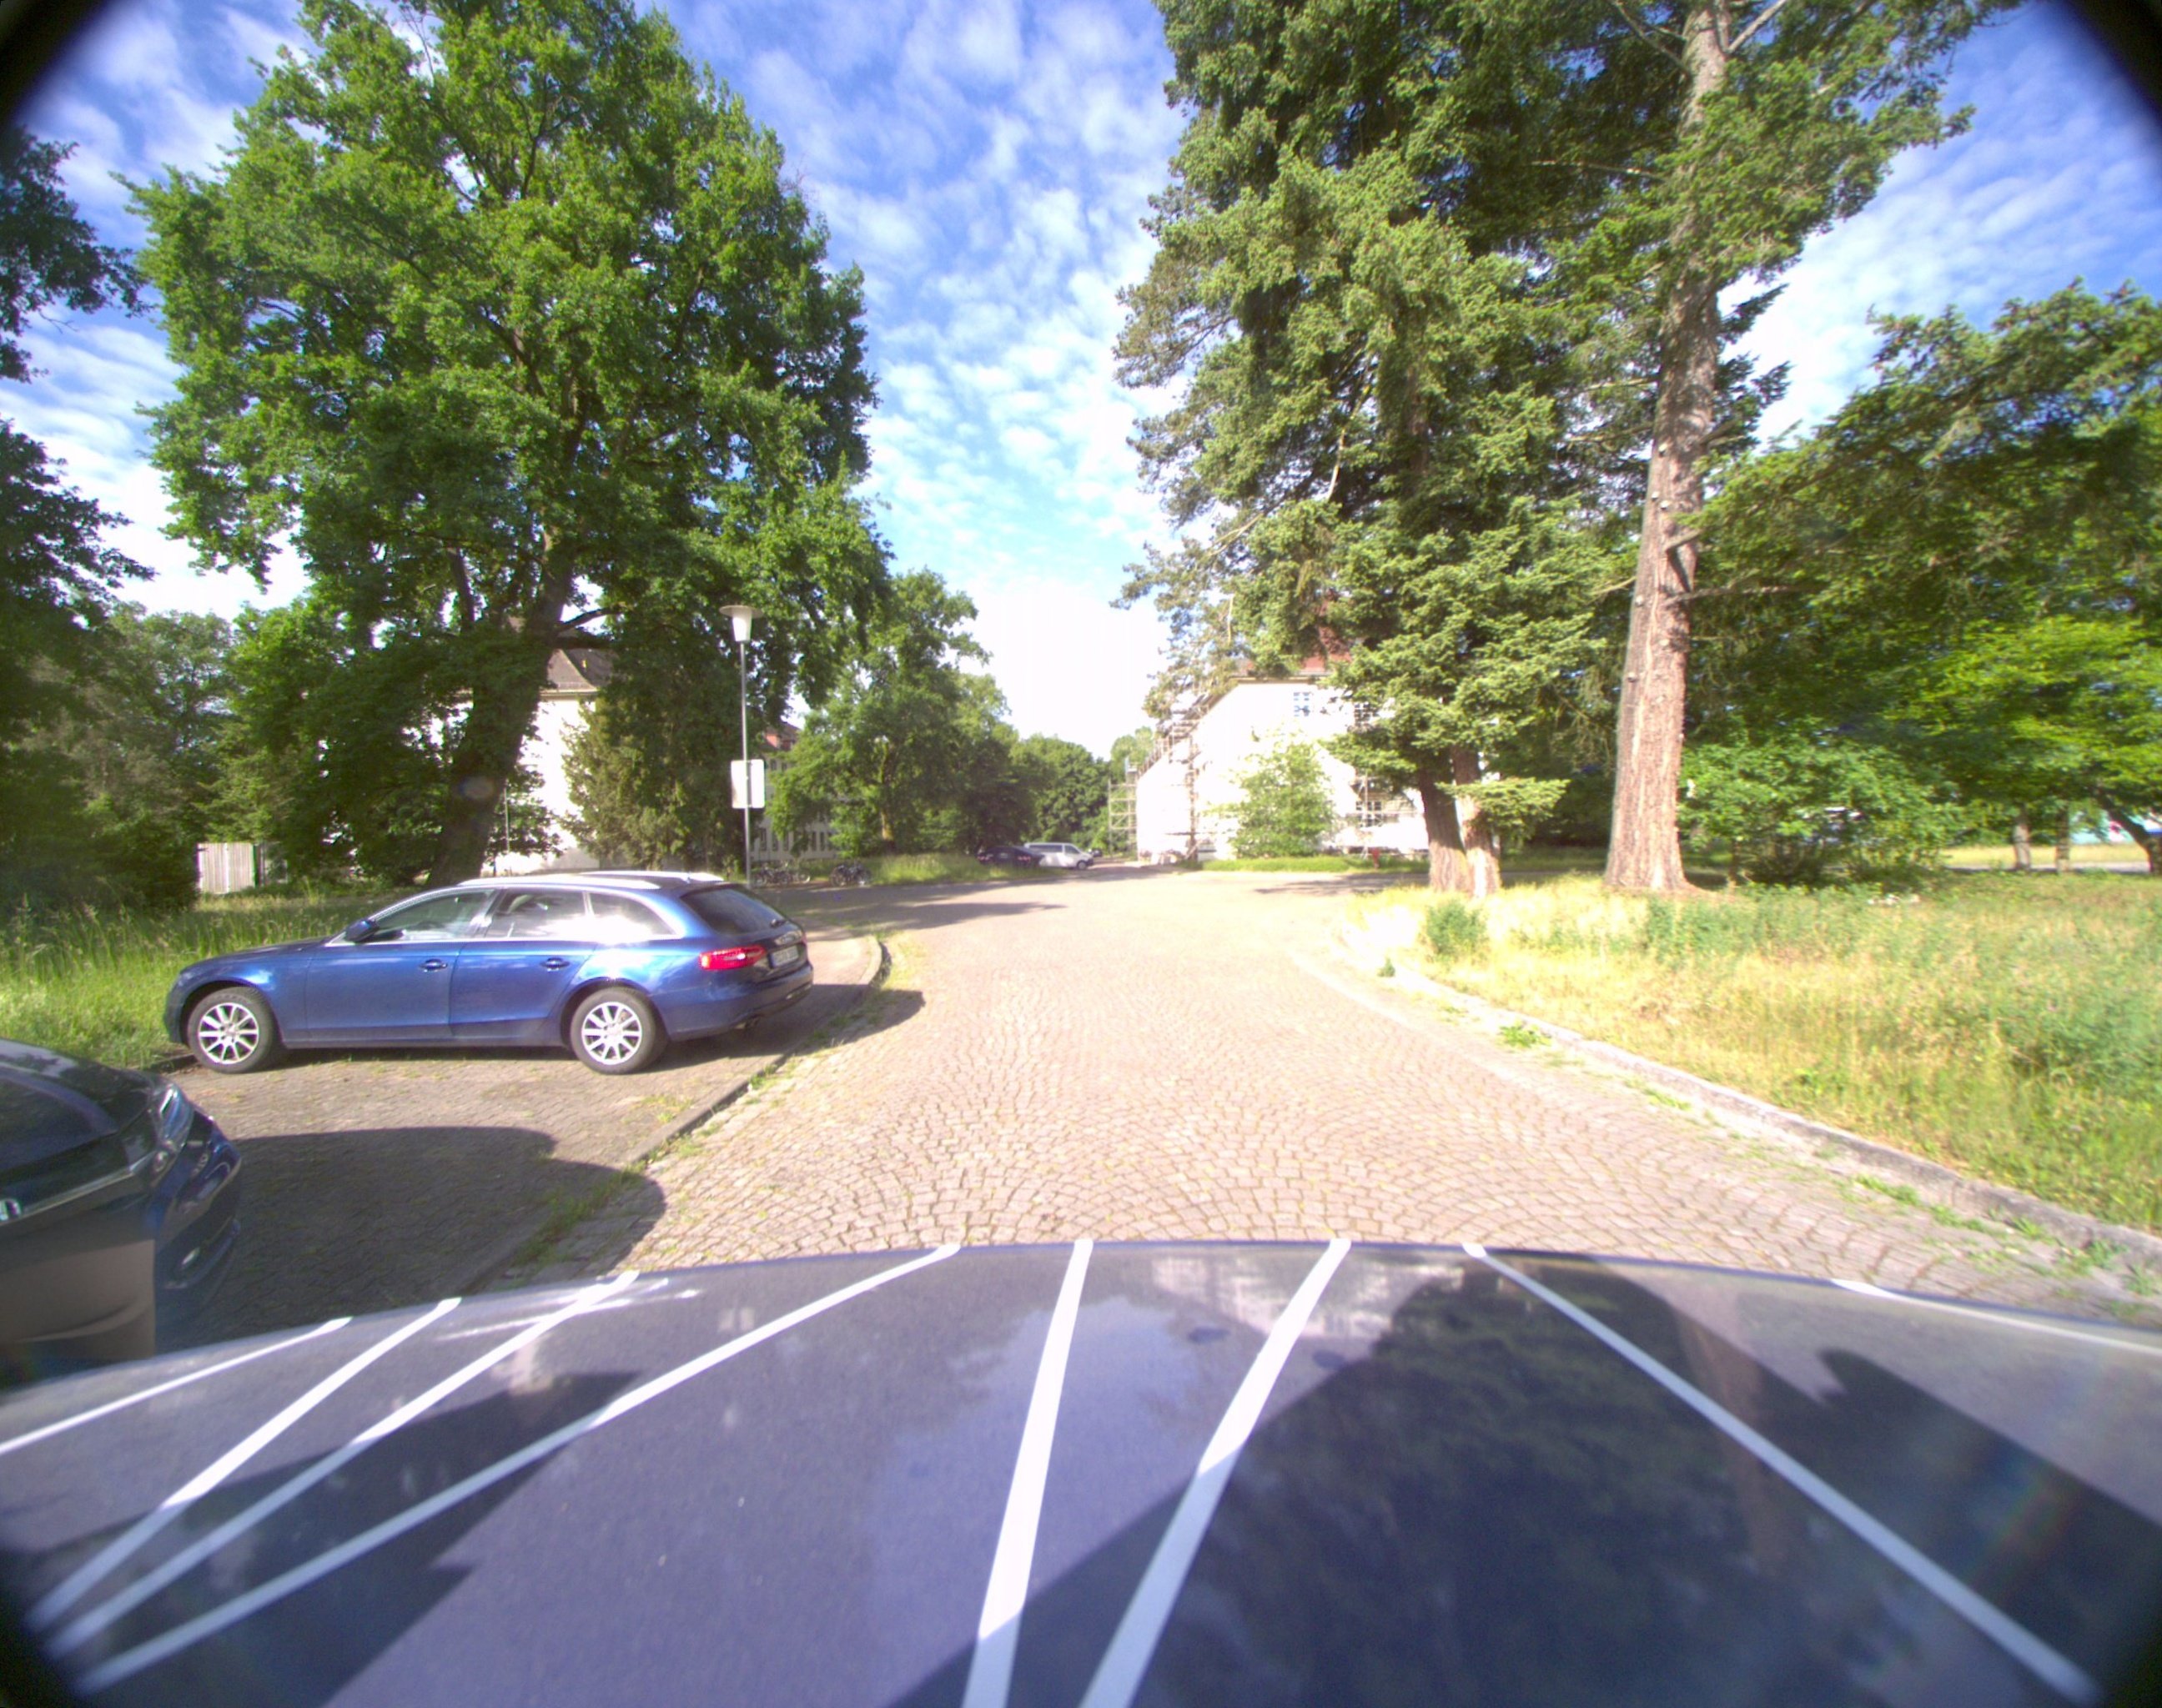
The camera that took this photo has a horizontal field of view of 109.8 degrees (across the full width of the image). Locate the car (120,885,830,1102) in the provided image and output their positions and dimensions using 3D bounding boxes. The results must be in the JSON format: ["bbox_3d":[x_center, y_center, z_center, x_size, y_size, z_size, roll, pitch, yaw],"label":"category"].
[{"bbox_3d":[-4.573,1.013,6.207,4.460,1.400,1.714,0,1,2],"label":"car"}]

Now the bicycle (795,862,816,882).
[{"bbox_3d":[-14.321,0.922,39.420,0.712,1.011,1.024,-2,1,-38],"label":"bicycle"}]

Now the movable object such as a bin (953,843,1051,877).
[{"bbox_3d":[-4.358,0.306,42.080,4.931,1.749,2.002,-1,1,14],"label":"movable object such as a bin"}]

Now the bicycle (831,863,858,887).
[{"bbox_3d":[-10.805,0.949,34.696,0.710,1.011,1.256,-1,1,6],"label":"bicycle"}]

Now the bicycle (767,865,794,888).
[{"bbox_3d":[-13.962,1.040,35.308,0.710,1.011,1.027,-1,1,6],"label":"bicycle"}]

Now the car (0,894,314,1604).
[{"bbox_3d":[-4.584,0.974,1.524,4.188,1.582,1.751,-1,1,-1],"label":"car"}]

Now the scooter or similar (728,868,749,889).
[{"bbox_3d":[-15.374,1.092,34.110,0.770,0.924,0.261,-1,1,-7],"label":"scooter or similar"}]

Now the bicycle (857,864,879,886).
[{"bbox_3d":[-9.852,0.964,35.120,0.747,0.929,1.140,-1,1,-4],"label":"bicycle"}]

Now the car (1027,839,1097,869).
[{"bbox_3d":[-1.338,-0.003,55.092,4.937,2.002,1.999,-1,1,-1],"label":"car"}]

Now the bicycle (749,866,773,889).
[{"bbox_3d":[-14.718,1.059,34.920,0.619,1.011,1.027,-1,1,2],"label":"bicycle"}]
